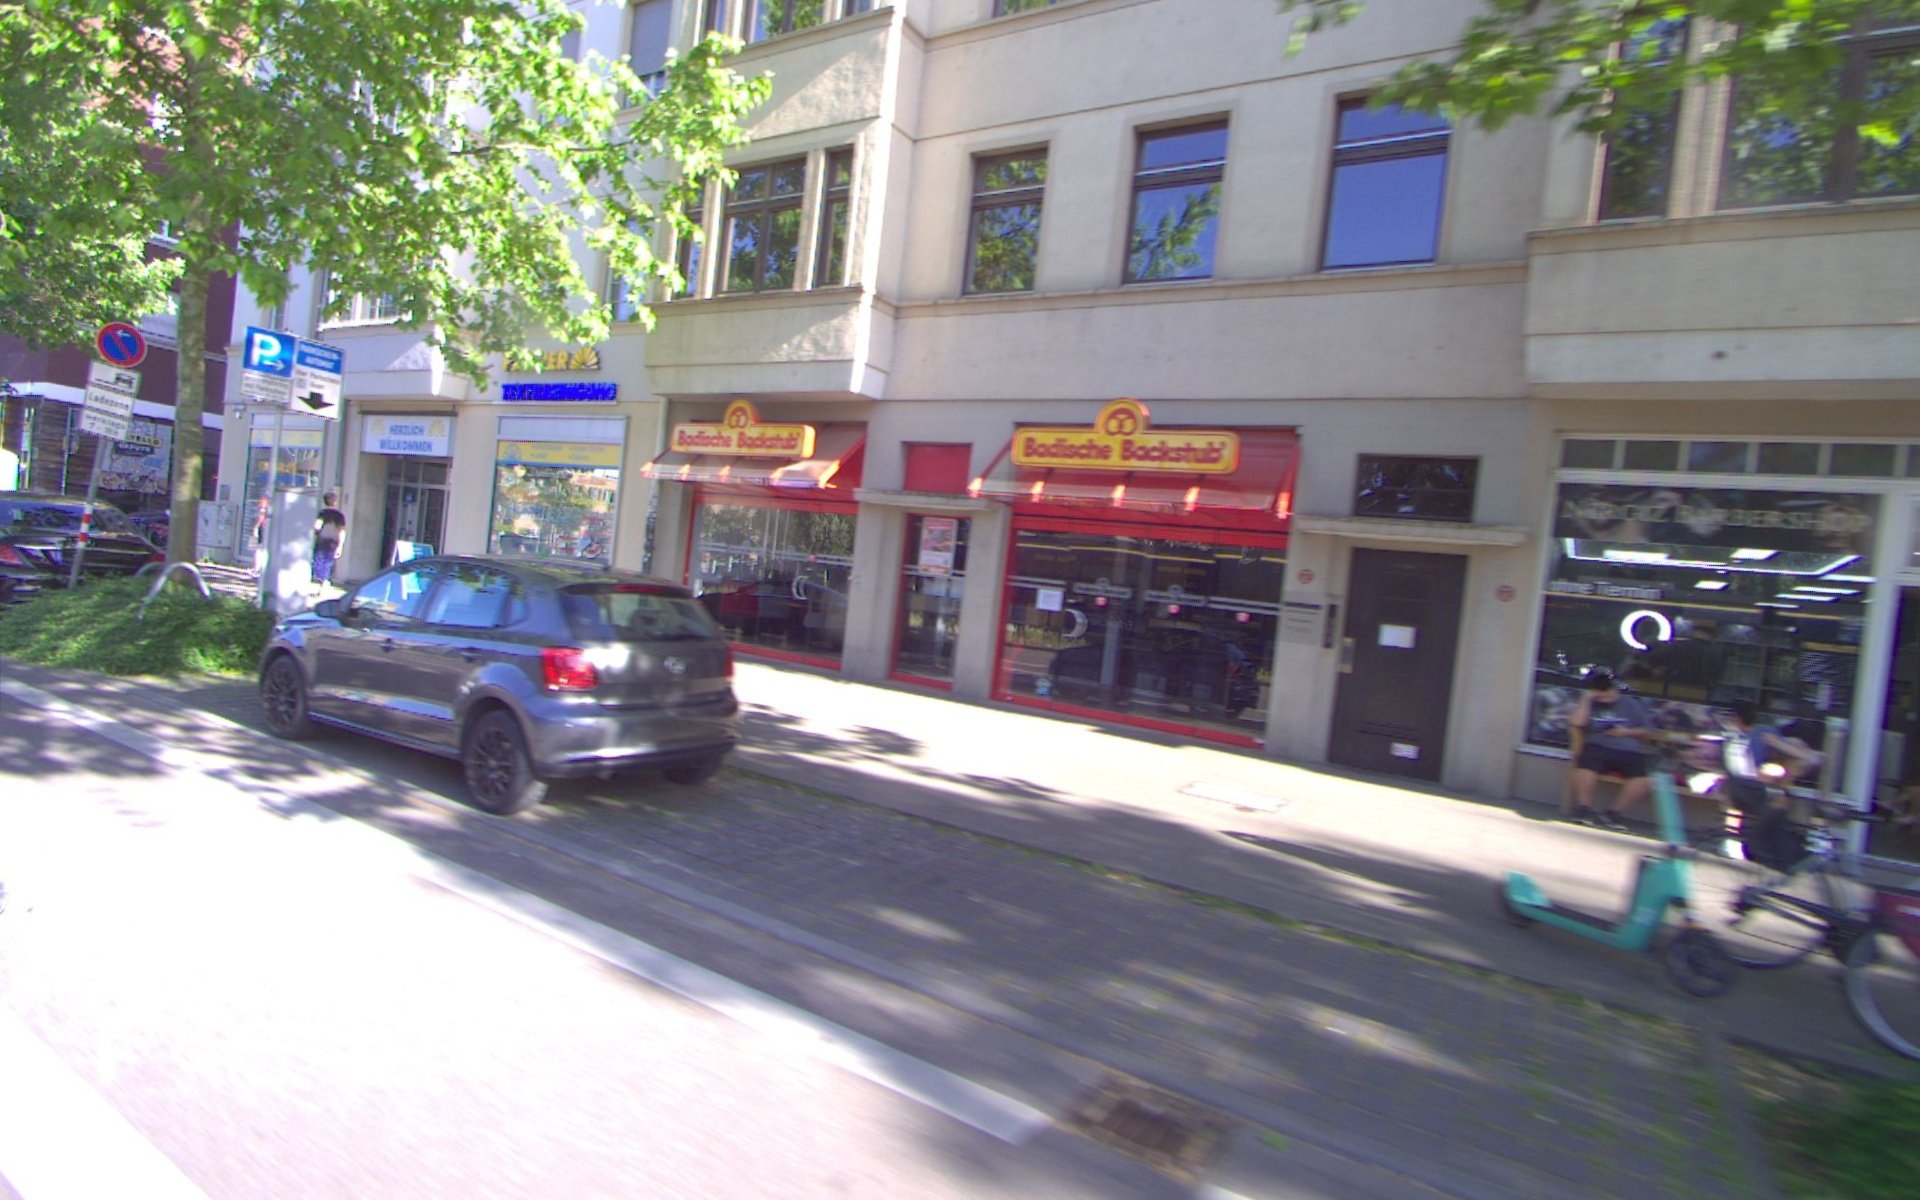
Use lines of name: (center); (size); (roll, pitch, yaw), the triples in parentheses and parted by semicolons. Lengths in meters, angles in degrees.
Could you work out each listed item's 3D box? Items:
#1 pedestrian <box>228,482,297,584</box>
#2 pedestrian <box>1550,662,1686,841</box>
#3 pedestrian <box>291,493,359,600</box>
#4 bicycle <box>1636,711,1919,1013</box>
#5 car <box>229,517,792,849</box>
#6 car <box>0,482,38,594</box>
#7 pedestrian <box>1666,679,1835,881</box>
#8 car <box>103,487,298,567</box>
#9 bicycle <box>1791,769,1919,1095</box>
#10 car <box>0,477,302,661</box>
pedestrian: (-13.935, -1.334, 20.102); (0.849, 1.924, 0.714); (7, 1, 32)
pedestrian: (5.575, 1.251, 8.561); (0.807, 1.349, 0.535); (7, 2, 32)
pedestrian: (-10.974, -0.923, 17.378); (0.757, 1.731, 0.558); (7, 0, 32)
bicycle: (4.504, 1.300, 4.913); (0.384, 1.221, 1.852); (7, 0, -39)
car: (-3.211, 0.389, 6.998); (3.738, 1.523, 1.695); (7, 3, 32)
car: (-15.805, -1.161, 15.029); (4.362, 1.574, 1.792); (7, -1, 32)
pedestrian: (6.242, 1.380, 8.004); (0.843, 1.387, 0.785); (7, 1, 32)
car: (-23.513, -2.210, 31.312); (1.962, 1.809, 4.306); (5, -2, 31)
bicycle: (4.542, 1.438, 3.922); (1.870, 1.230, 0.392); (5, 1, 28)
car: (-9.463, -0.426, 10.944); (4.517, 1.527, 2.041); (7, 0, 32)
